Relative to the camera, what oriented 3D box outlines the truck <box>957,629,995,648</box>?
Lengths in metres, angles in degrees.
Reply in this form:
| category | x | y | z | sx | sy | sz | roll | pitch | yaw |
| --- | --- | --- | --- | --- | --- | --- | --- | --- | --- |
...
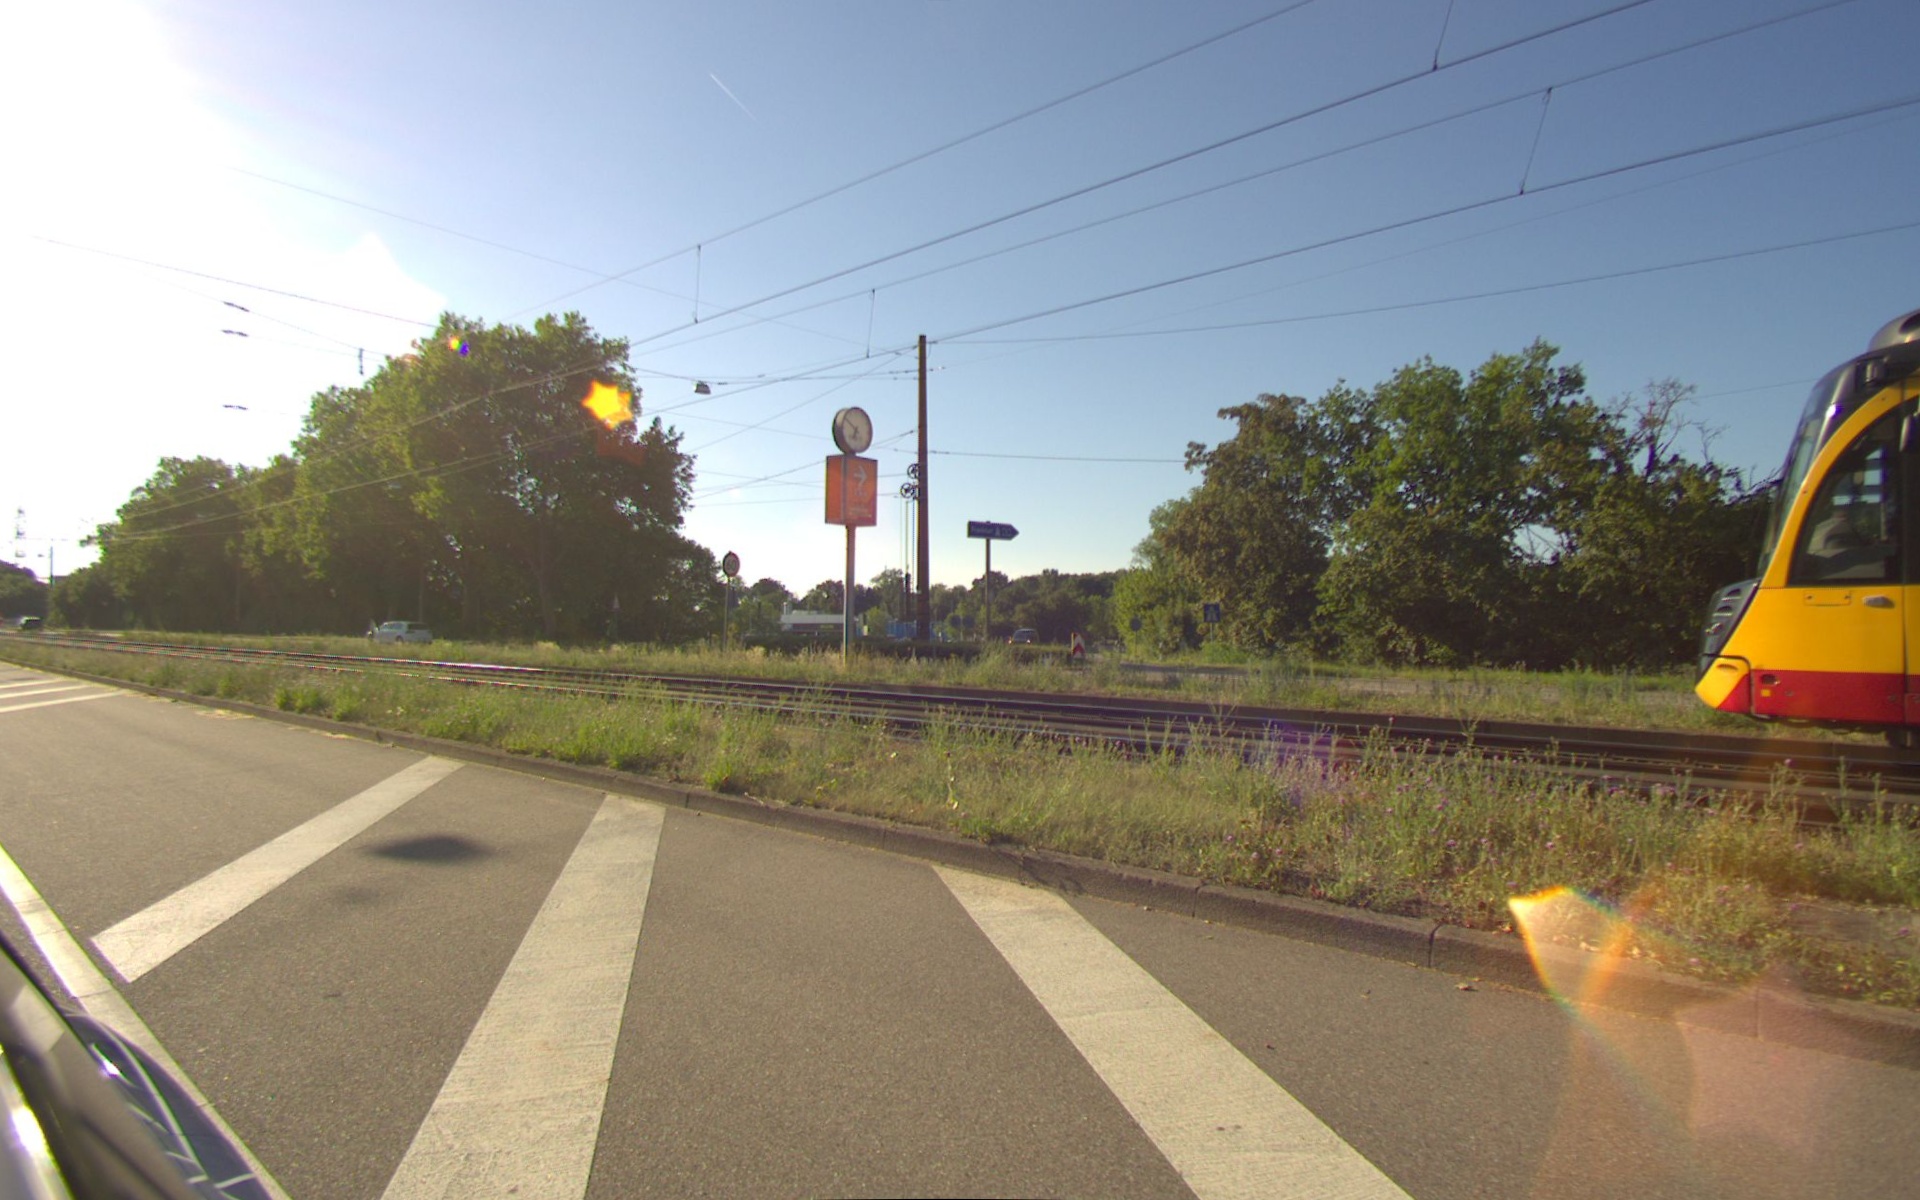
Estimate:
| category | x | y | z | sx | sy | sz | roll | pitch | yaw |
| --- | --- | --- | --- | --- | --- | --- | --- | --- | --- |
| truck | 2.309 | 5.500 | 144.316 | 4.944 | 2.540 | 2.072 | -1 | 0 | -20 |

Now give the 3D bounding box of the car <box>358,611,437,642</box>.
| category | x | y | z | sx | sy | sz | roll | pitch | yaw |
| --- | --- | --- | --- | --- | --- | --- | --- | --- | --- |
| car | -31.793 | 1.465 | 57.189 | 4.248 | 1.537 | 1.645 | 2 | 0 | 24 |

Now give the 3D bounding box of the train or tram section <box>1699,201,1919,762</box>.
| category | x | y | z | sx | sy | sz | roll | pitch | yaw |
| --- | --- | --- | --- | --- | --- | --- | --- | --- | --- |
| train or tram section | 11.371 | -0.894 | 4.975 | 12.323 | 3.932 | 2.776 | -1 | 0 | 40 |

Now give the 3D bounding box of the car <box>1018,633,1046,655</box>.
| category | x | y | z | sx | sy | sz | roll | pitch | yaw |
| --- | --- | --- | --- | --- | --- | --- | --- | --- | --- |
| car | 5.379 | 3.274 | 75.190 | 1.640 | 1.537 | 4.113 | 3 | -3 | 10 |

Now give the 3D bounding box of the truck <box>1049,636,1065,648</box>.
| category | x | y | z | sx | sy | sz | roll | pitch | yaw |
| --- | --- | --- | --- | --- | --- | --- | --- | --- | --- |
| truck | 13.923 | 6.051 | 145.524 | 1.634 | 1.537 | 4.130 | 3 | -3 | -4 |

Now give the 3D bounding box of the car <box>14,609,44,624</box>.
| category | x | y | z | sx | sy | sz | roll | pitch | yaw |
| --- | --- | --- | --- | --- | --- | --- | --- | --- | --- |
| car | -112.405 | 2.021 | 122.177 | 4.936 | 1.707 | 1.879 | -1 | -3 | 39 |
